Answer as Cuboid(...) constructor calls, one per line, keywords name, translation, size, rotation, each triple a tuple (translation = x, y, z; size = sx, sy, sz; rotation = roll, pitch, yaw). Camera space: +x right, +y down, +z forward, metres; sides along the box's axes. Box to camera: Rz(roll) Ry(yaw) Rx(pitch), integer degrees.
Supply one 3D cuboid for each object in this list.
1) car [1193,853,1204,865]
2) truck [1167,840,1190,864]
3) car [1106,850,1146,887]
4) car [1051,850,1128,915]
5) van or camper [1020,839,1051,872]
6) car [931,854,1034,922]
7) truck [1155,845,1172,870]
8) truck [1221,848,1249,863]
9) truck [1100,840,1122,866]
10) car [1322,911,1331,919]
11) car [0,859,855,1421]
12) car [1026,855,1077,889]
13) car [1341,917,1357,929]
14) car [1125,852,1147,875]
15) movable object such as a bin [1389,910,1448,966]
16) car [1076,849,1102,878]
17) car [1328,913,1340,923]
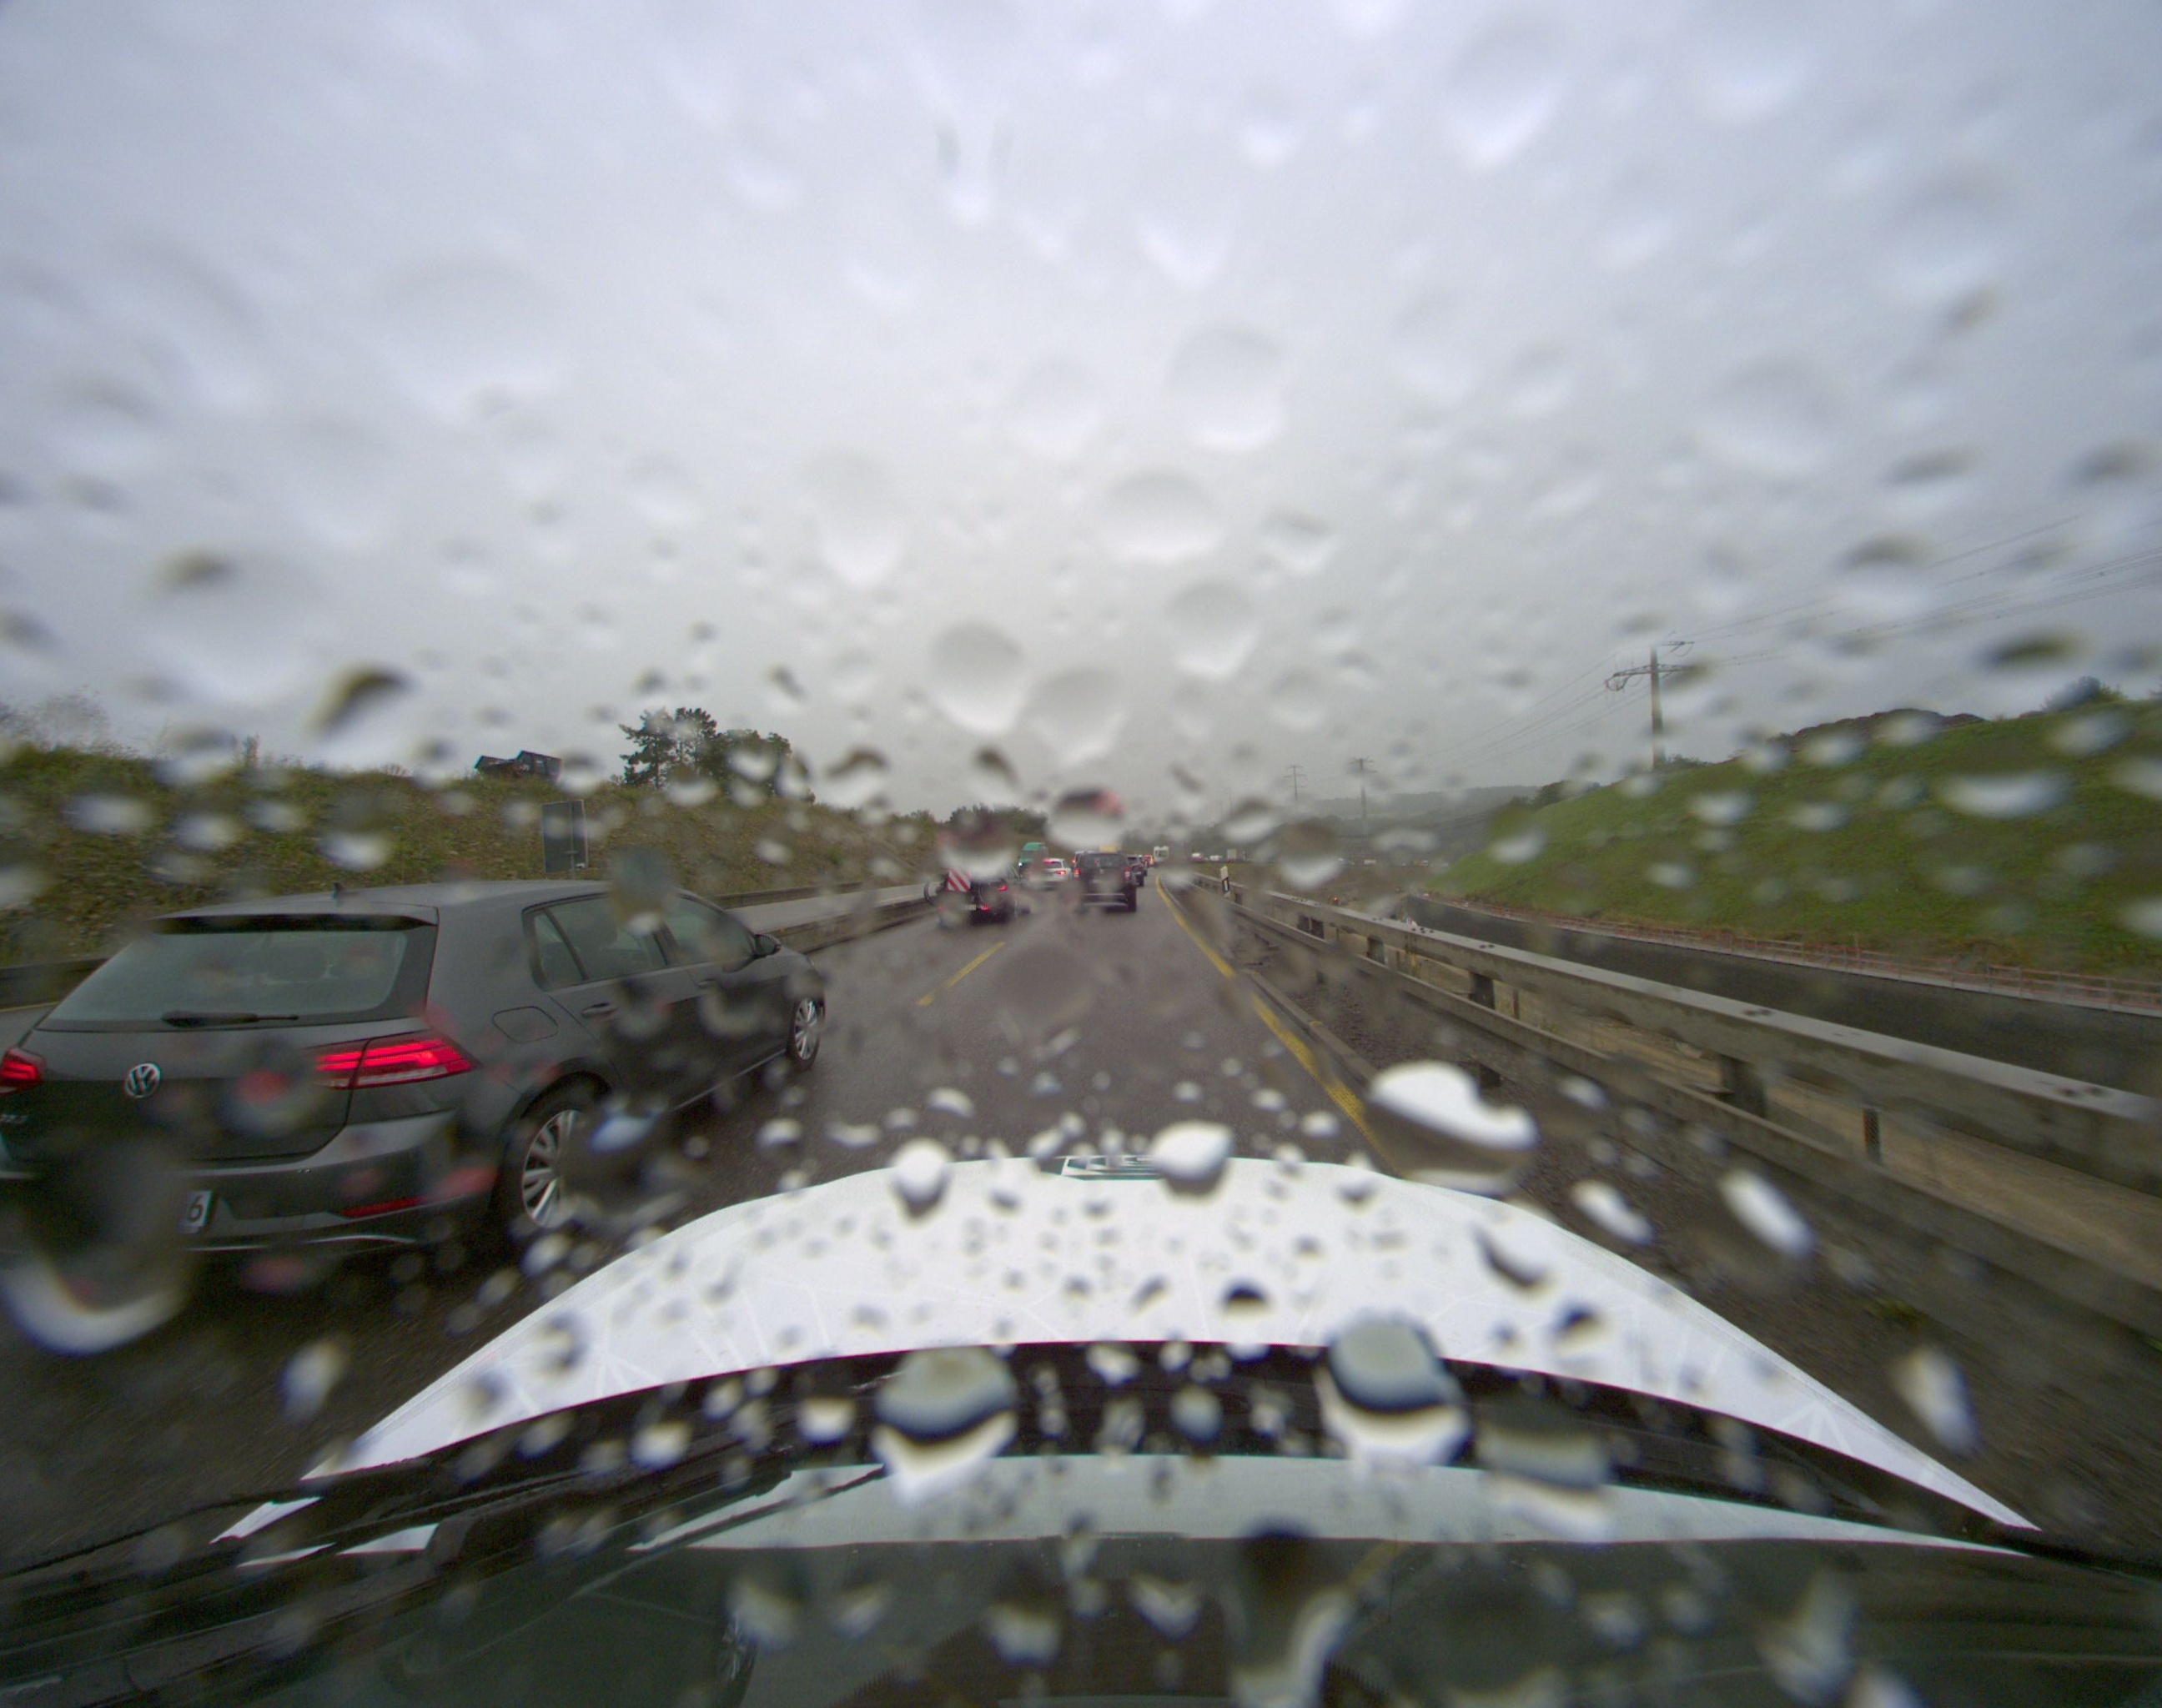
Cuboid(name="car", translation=(19.735, 0.799, 136.690), size=(1.764, 1.916, 4.011), rotation=(0, 0, 10))
Cuboid(name="truck", translation=(16.044, -0.331, 133.865), size=(3.180, 3.761, 8.534), rotation=(0, 0, 11))
Cuboid(name="car", translation=(2.294, 0.681, 40.412), size=(1.859, 1.708, 4.005), rotation=(0, 0, 4))
Cuboid(name="car", translation=(0.320, 0.729, 22.715), size=(1.795, 1.646, 3.782), rotation=(-1, 0, 5))
Cuboid(name="van or camper", translation=(-4.098, 0.137, 74.378), size=(2.091, 2.818, 5.949), rotation=(0, 0, 4))
Cuboid(name="car", translation=(-2.292, 0.756, 19.883), size=(1.821, 1.476, 3.779), rotation=(-1, 0, 3))
Cuboid(name="truck", translation=(10.840, 0.448, 106.778), size=(2.139, 3.166, 6.469), rotation=(0, 0, 5))
Cuboid(name="truck", translation=(42.840, 0.353, 225.956), size=(4.677, 4.150, 15.765), rotation=(0, 0, 22))
Cuboid(name="truck", translation=(4.803, -0.215, 130.598), size=(2.753, 3.996, 8.439), rotation=(0, 0, 7))
Cuboid(name="car", translation=(66.525, 16.540, 220.518), size=(1.977, 2.013, 4.020), rotation=(0, 0, 19))
Cuboid(name="car", translation=(-2.730, 0.826, 4.465), size=(1.608, 1.506, 4.369), rotation=(-2, 0, 1))
Cuboid(name="car", translation=(-1.306, 0.798, 38.118), size=(1.859, 1.460, 4.554), rotation=(0, 0, 5))
Cuboid(name="car", translation=(52.498, 13.454, 159.588), size=(2.353, 2.013, 4.007), rotation=(0, 0, 6))
Cuboid(name="car", translation=(4.051, 0.675, 60.130), size=(1.524, 1.640, 4.015), rotation=(0, 0, 2))
Cuboid(name="movable object such as a bin", translation=(27.123, 6.698, 65.599), size=(3.200, 3.867, 4.127), rotation=(1, 1, 4))
Cuboid(name="car", translation=(0.568, 0.643, 56.391), size=(1.653, 1.880, 4.022), rotation=(0, 0, 3))
Cuboid(name="car", translation=(54.964, 13.858, 177.152), size=(1.982, 1.816, 4.010), rotation=(-1, 0, 9))
